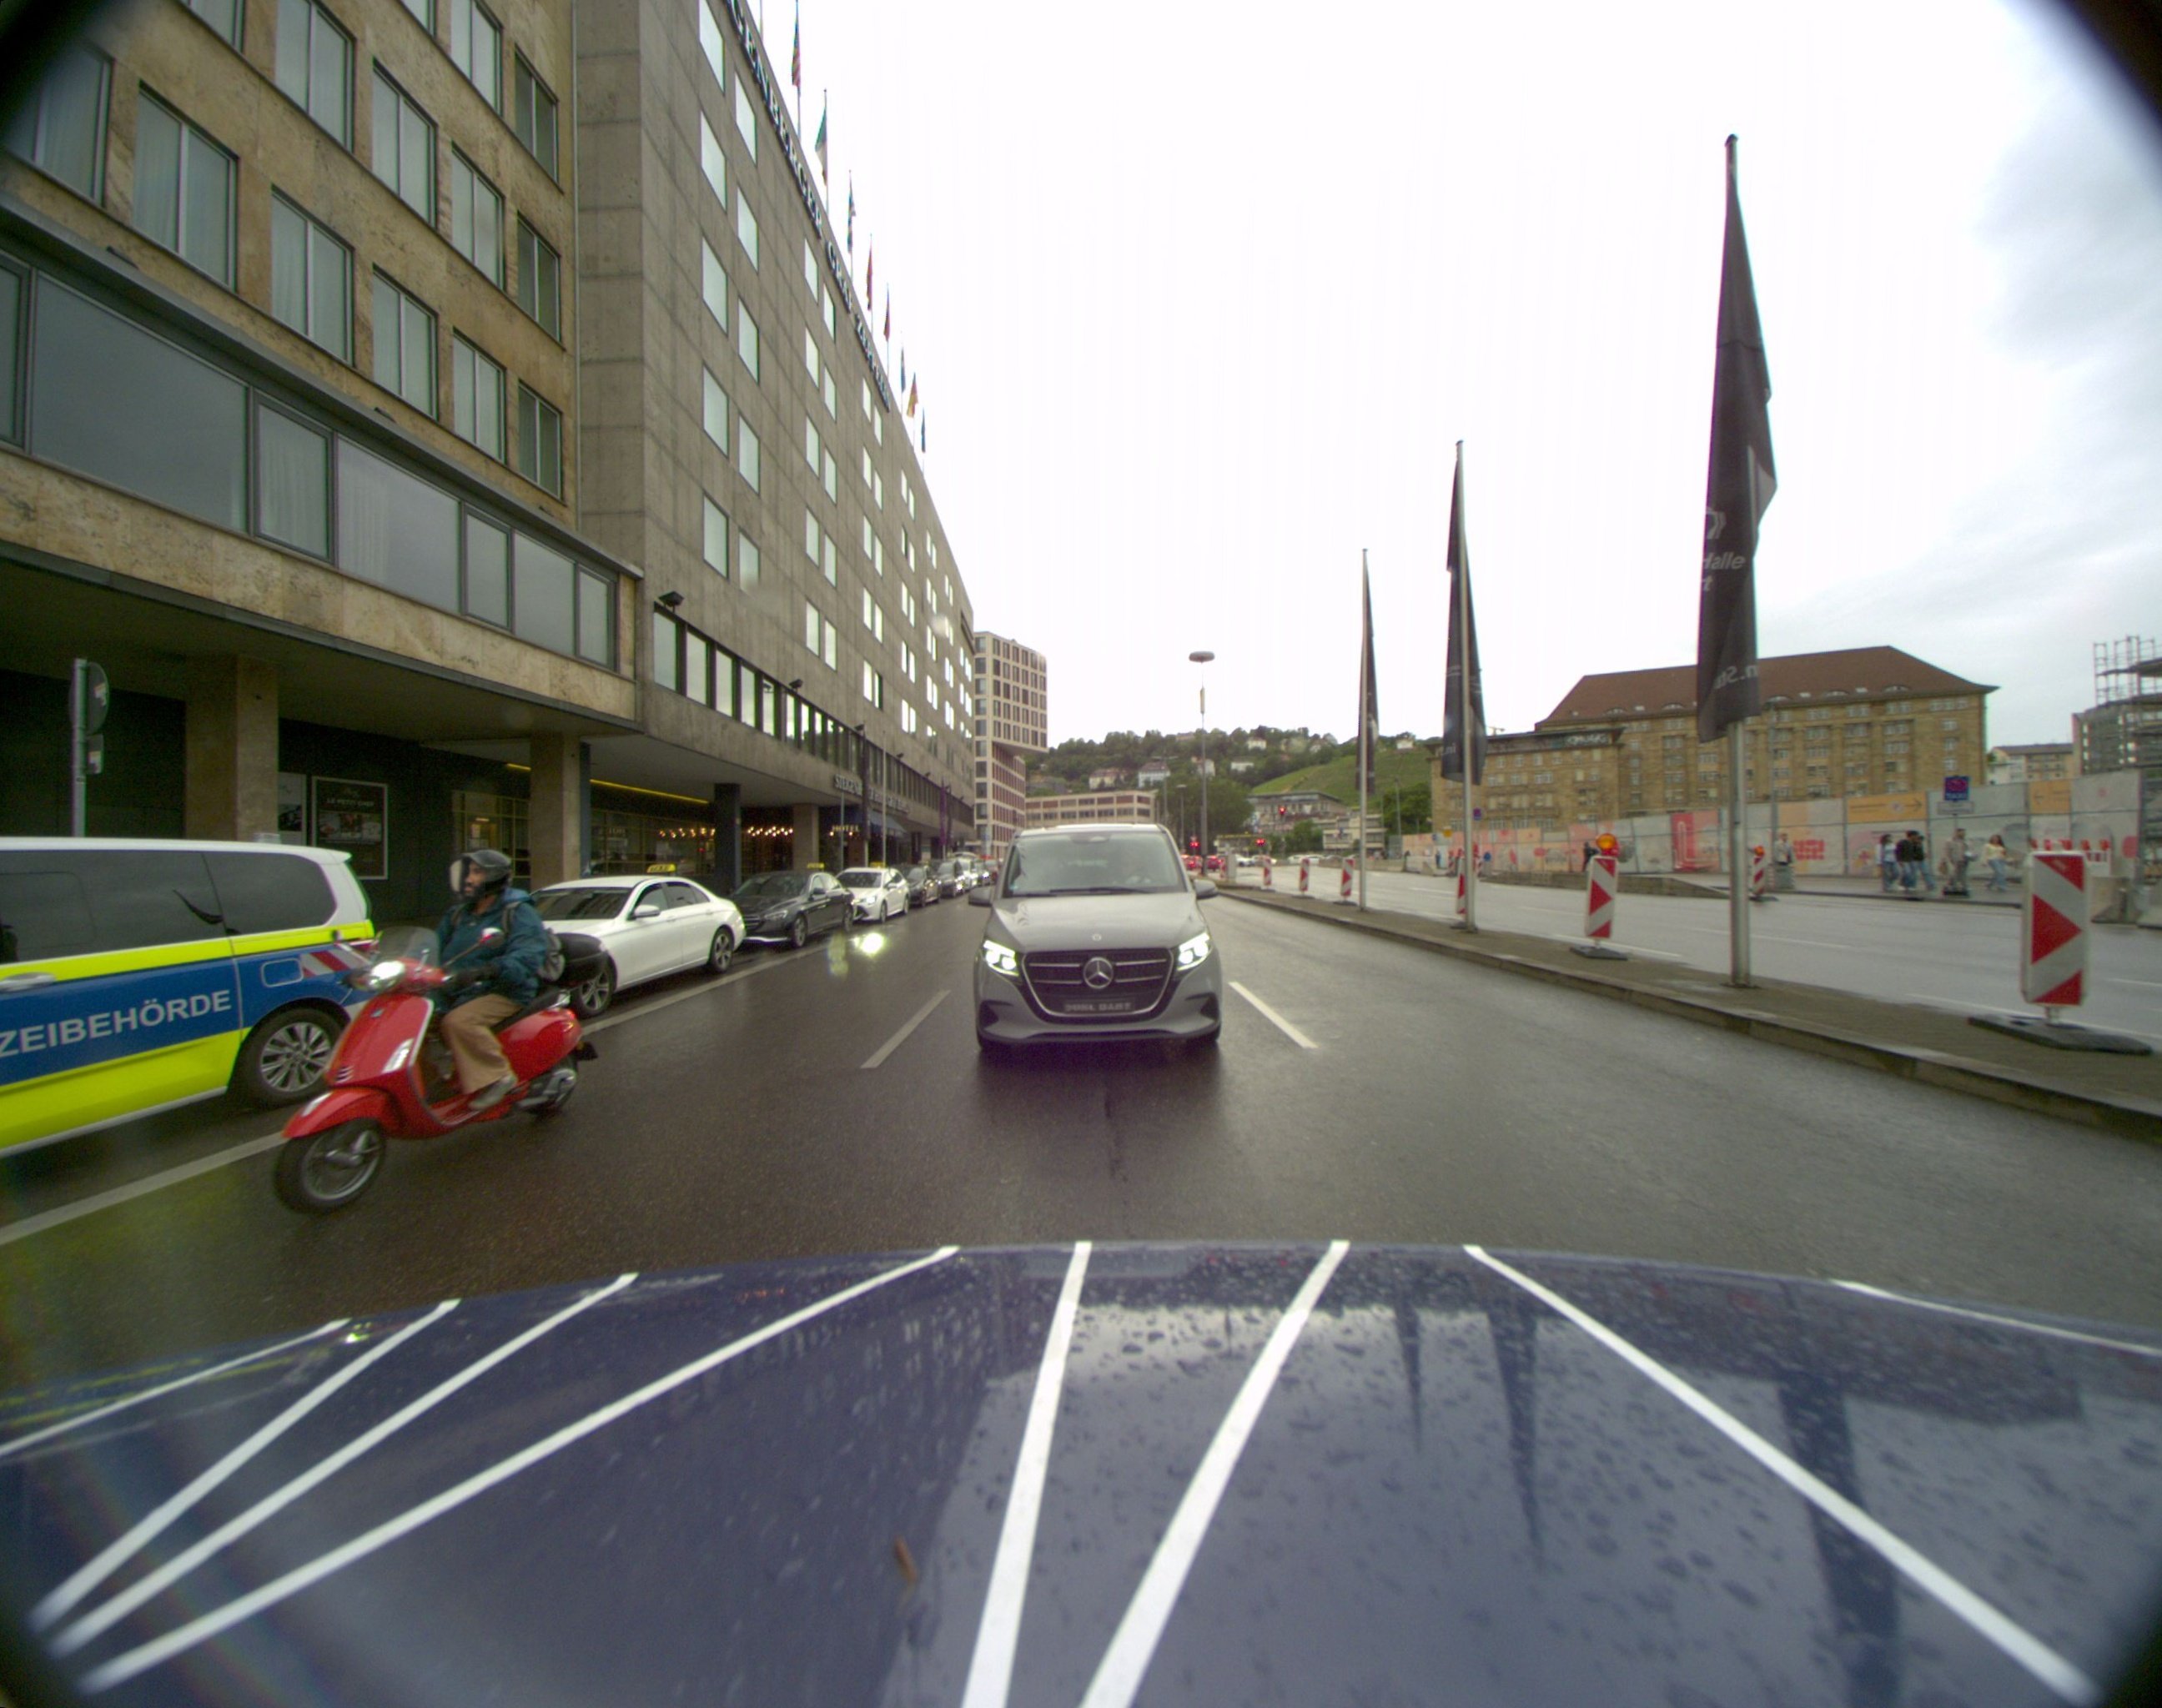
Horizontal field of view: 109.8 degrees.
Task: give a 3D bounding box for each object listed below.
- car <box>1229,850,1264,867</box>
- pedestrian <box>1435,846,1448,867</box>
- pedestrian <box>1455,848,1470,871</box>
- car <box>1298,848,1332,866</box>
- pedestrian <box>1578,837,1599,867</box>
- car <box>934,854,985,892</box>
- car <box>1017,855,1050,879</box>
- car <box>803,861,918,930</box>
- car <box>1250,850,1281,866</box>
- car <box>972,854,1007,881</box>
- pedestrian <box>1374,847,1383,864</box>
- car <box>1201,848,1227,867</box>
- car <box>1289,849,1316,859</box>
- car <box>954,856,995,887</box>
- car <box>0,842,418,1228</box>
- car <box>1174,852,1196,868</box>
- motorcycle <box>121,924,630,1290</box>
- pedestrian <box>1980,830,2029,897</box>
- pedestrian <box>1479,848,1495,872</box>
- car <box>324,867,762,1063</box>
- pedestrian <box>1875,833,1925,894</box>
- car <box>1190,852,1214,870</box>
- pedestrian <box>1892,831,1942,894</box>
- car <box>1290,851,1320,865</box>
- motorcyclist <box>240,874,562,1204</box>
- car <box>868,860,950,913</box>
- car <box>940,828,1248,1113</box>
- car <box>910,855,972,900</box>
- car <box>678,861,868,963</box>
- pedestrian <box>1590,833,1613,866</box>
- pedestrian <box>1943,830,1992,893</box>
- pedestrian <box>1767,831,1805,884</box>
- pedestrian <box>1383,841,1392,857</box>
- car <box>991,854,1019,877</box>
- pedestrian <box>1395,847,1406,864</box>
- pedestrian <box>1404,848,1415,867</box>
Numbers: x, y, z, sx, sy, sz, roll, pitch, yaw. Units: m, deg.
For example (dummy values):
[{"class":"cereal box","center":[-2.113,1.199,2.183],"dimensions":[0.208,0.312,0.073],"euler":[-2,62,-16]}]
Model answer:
[{"class":"car","center":[22.118,0.594,101.486],"dimensions":[4.394,2.002,2.002],"euler":[-2,1,17]},{"class":"pedestrian","center":[27.636,0.165,58.264],"dimensions":[0.715,1.606,0.544],"euler":[-2,1,1]},{"class":"pedestrian","center":[27.403,0.392,54.573],"dimensions":[0.715,1.606,0.544],"euler":[-2,1,1]},{"class":"car","center":[29.891,0.379,97.050],"dimensions":[3.992,2.002,2.002],"euler":[-2,1,17]},{"class":"pedestrian","center":[27.719,-0.134,41.510],"dimensions":[0.715,1.606,0.544],"euler":[-2,1,1]},{"class":"car","center":[-6.092,0.903,38.614],"dimensions":[1.731,1.732,4.813],"euler":[-2,1,0]},{"class":"car","center":[-3.492,0.915,56.363],"dimensions":[2.089,1.540,4.587],"euler":[-2,1,0]},{"class":"car","center":[-6.039,1.062,21.432],"dimensions":[1.731,1.583,4.813],"euler":[-2,1,0]},{"class":"car","center":[25.122,0.510,103.307],"dimensions":[3.992,2.002,2.002],"euler":[-2,1,17]},{"class":"car","center":[-5.877,0.844,49.300],"dimensions":[1.731,1.604,4.001],"euler":[-2,1,0]},{"class":"pedestrian","center":[29.593,0.143,75.618],"dimensions":[0.715,1.606,0.544],"euler":[-2,1,5]},{"class":"car","center":[12.693,0.319,72.732],"dimensions":[1.785,1.684,3.916],"euler":[-1,0,0]},{"class":"car","center":[35.686,-0.021,122.546],"dimensions":[3.993,1.622,2.002],"euler":[-1,0,14]},{"class":"car","center":[-6.129,1.003,44.122],"dimensions":[1.731,1.604,4.001],"euler":[-2,1,0]},{"class":"car","center":[-6.315,0.933,3.618],"dimensions":[1.879,1.909,4.935],"euler":[-2,1,0]},{"class":"car","center":[11.820,0.613,86.376],"dimensions":[1.785,1.684,3.915],"euler":[-2,1,-1]},{"class":"motorcycle","center":[-3.509,1.143,4.136],"dimensions":[0.848,1.299,1.965],"euler":[-2,1,1]},{"class":"pedestrian","center":[25.686,0.274,21.148],"dimensions":[0.661,1.825,0.556],"euler":[-2,1,21]},{"class":"pedestrian","center":[27.814,0.384,52.072],"dimensions":[0.715,1.606,0.544],"euler":[-2,1,1]},{"class":"car","center":[-6.086,1.089,9.621],"dimensions":[1.879,1.628,5.010],"euler":[-2,1,0]},{"class":"pedestrian","center":[23.583,0.264,21.884],"dimensions":[0.714,1.723,0.718],"euler":[-2,1,19]},{"class":"car","center":[12.420,0.665,78.327],"dimensions":[1.785,1.684,3.915],"euler":[-2,1,-1]},{"class":"pedestrian","center":[24.567,0.240,22.339],"dimensions":[0.714,1.825,0.718],"euler":[-2,1,19]},{"class":"car","center":[35.022,0.623,118.757],"dimensions":[4.194,1.846,1.832],"euler":[-2,1,6]},{"class":"motorcyclist","center":[-3.523,0.895,4.038],"dimensions":[0.861,1.519,0.844],"euler":[-2,1,1]},{"class":"car","center":[-6.043,1.084,27.247],"dimensions":[1.731,1.583,4.813],"euler":[-2,1,0]},{"class":"car","center":[0.128,0.761,7.690],"dimensions":[1.998,1.849,5.159],"euler":[-2,1,1]},{"class":"car","center":[-6.052,0.951,33.418],"dimensions":[1.731,1.732,4.813],"euler":[-2,1,0]},{"class":"car","center":[-6.070,1.030,15.704],"dimensions":[1.879,1.628,4.813],"euler":[-2,1,0]},{"class":"pedestrian","center":[25.978,-0.221,37.922],"dimensions":[0.715,1.606,0.544],"euler":[-2,1,1]},{"class":"pedestrian","center":[25.014,0.211,21.451],"dimensions":[0.714,1.734,0.564],"euler":[-2,1,21]},{"class":"pedestrian","center":[25.192,0.117,27.160],"dimensions":[0.664,1.825,0.720],"euler":[-2,1,1]},{"class":"pedestrian","center":[30.455,-0.504,75.527],"dimensions":[0.715,1.606,0.544],"euler":[-2,1,5]},{"class":"car","center":[-5.912,0.879,59.621],"dimensions":[1.731,1.604,4.001],"euler":[-2,1,0]},{"class":"pedestrian","center":[29.278,0.133,69.568],"dimensions":[0.715,1.606,0.544],"euler":[-2,1,1]},{"class":"pedestrian","center":[28.079,0.301,64.931],"dimensions":[0.715,1.606,0.544],"euler":[-2,1,1]}]
